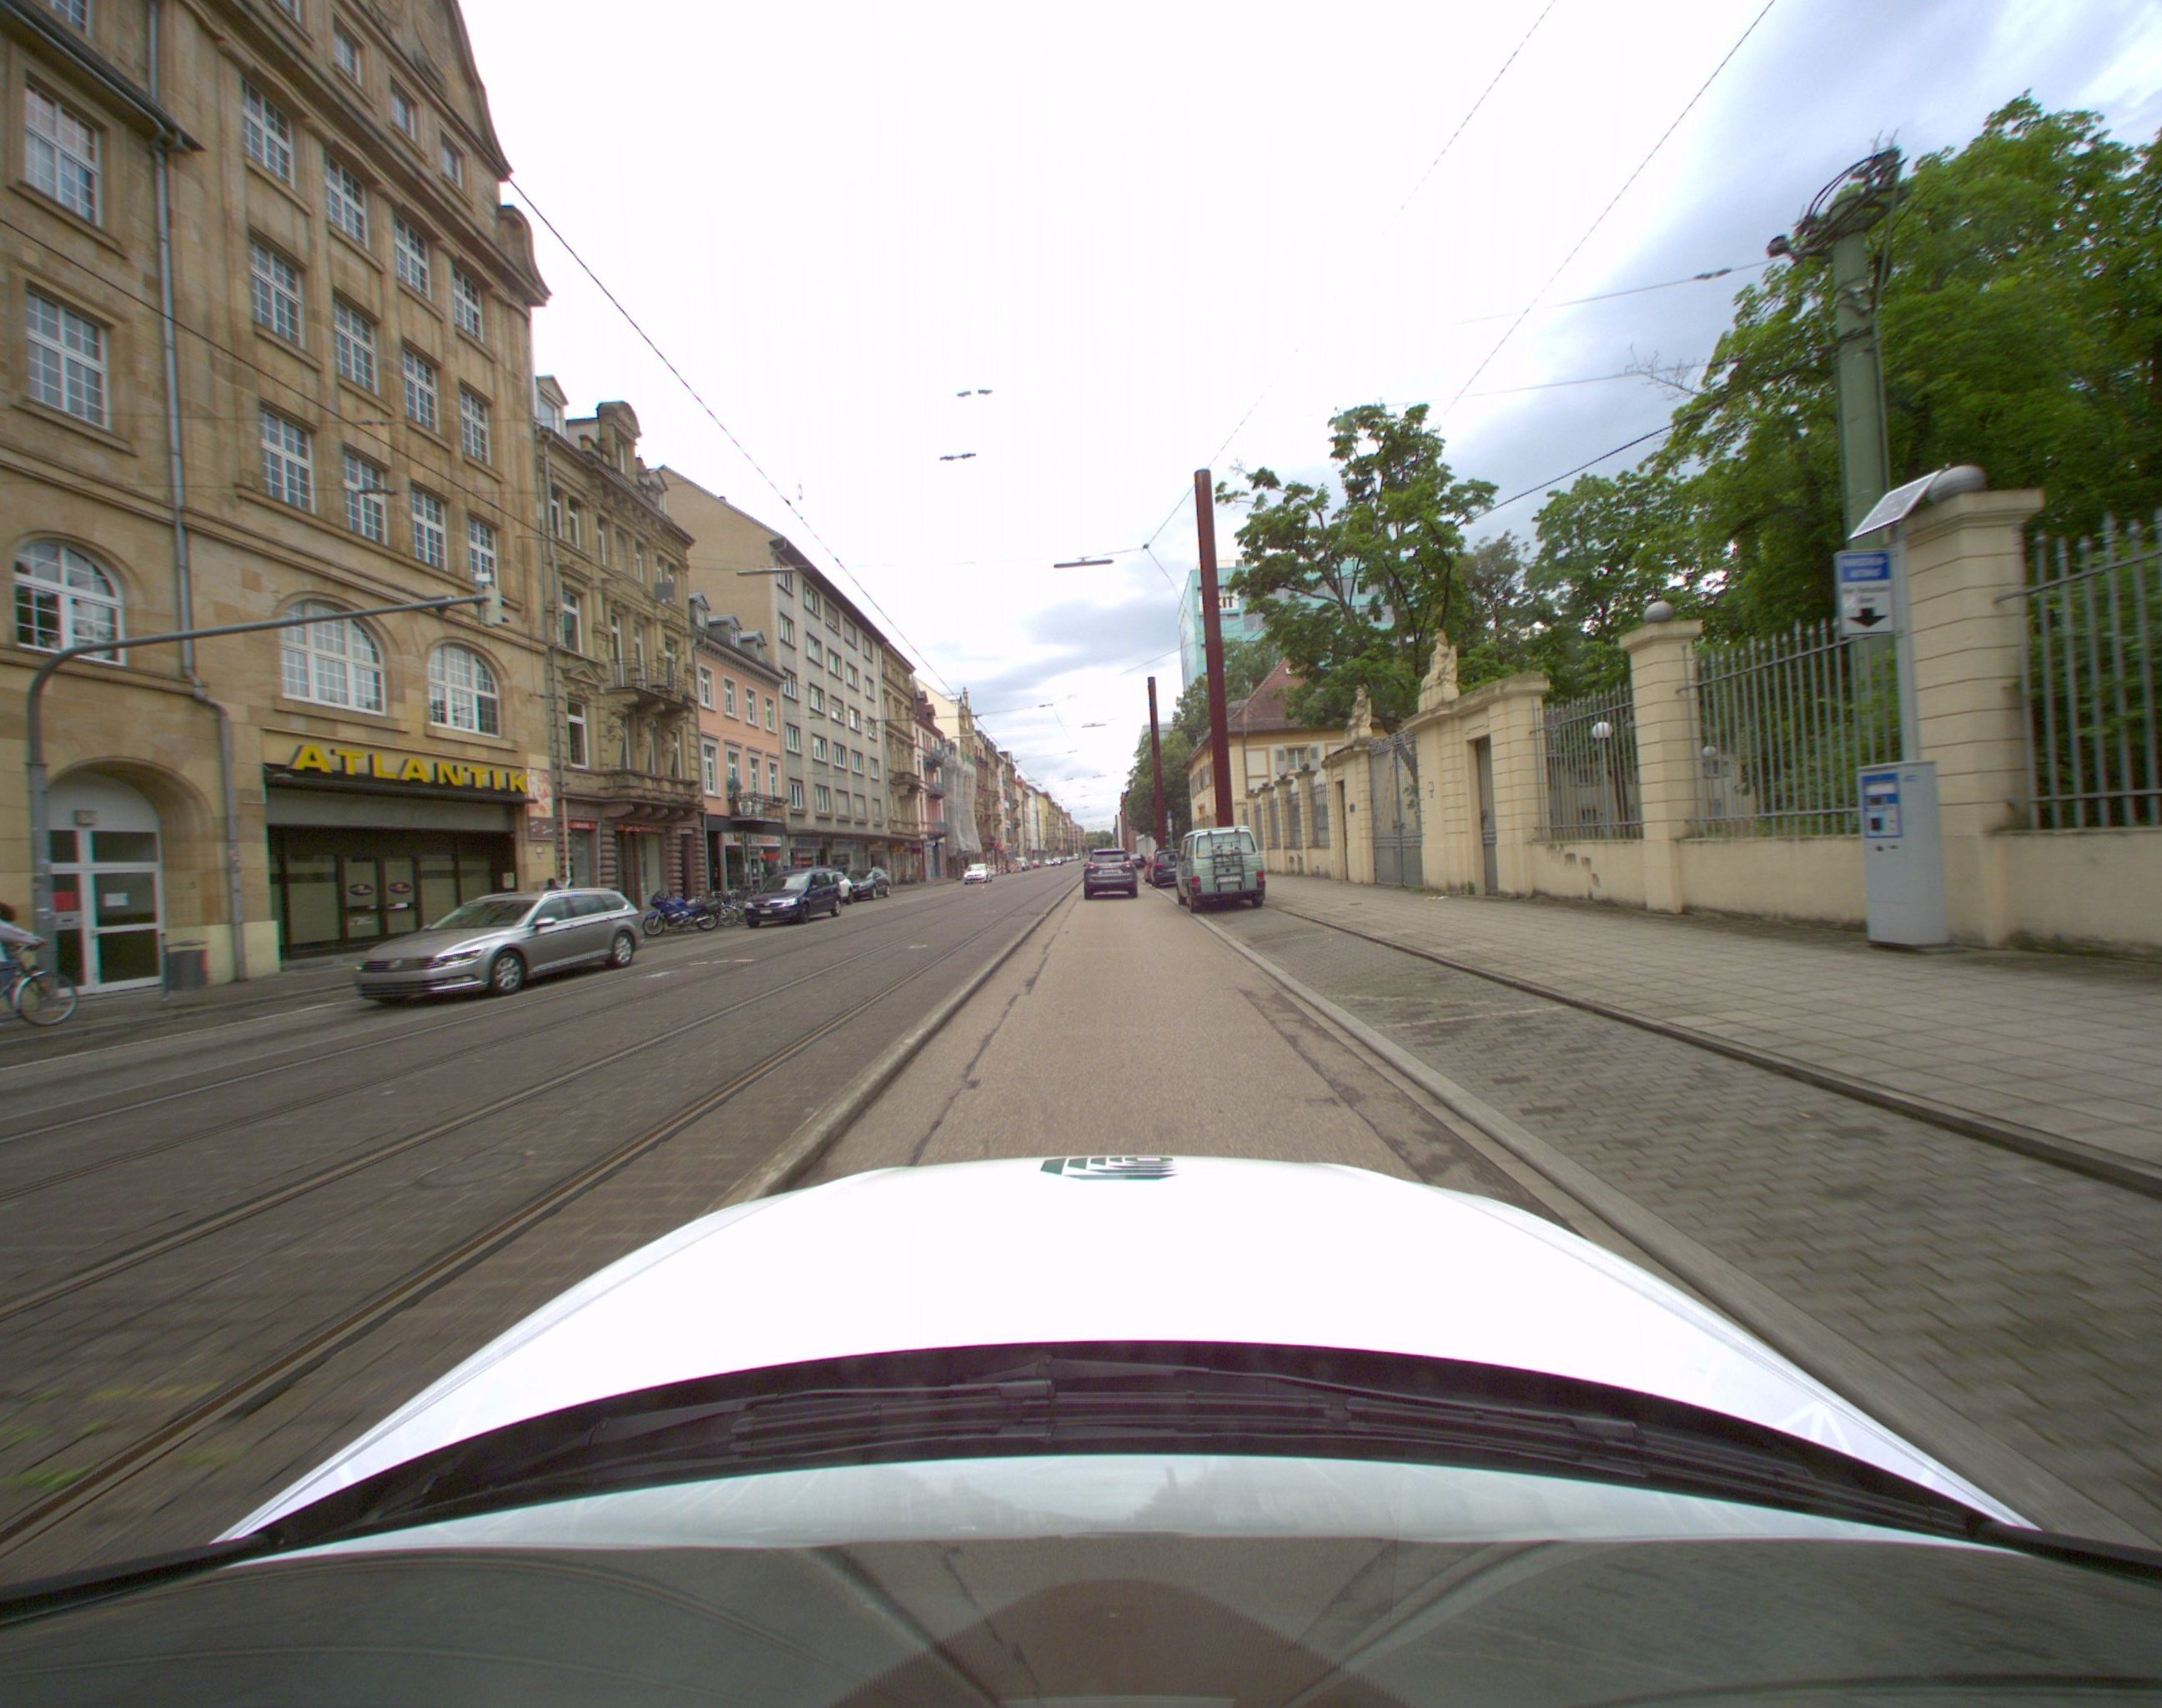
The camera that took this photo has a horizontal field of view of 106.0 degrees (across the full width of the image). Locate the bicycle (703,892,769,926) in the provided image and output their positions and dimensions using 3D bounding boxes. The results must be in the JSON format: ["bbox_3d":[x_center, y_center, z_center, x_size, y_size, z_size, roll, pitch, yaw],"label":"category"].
[{"bbox_3d":[-11.636,1.851,27.510,1.964,1.001,0.462,-4,-1,-7],"label":"bicycle"}]

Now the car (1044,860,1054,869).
[{"bbox_3d":[-6.671,2.188,171.893,1.988,1.635,3.997,-3,-1,-2],"label":"car"}]

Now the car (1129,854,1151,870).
[{"bbox_3d":[5.545,0.733,77.141,1.769,1.420,4.136,-4,0,1],"label":"car"}]

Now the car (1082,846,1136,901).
[{"bbox_3d":[0.974,0.654,28.695,1.743,1.756,3.925,-2,0,1],"label":"car"}]

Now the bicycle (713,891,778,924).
[{"bbox_3d":[-11.652,1.845,28.324,1.964,1.001,0.462,-4,-1,-7],"label":"bicycle"}]

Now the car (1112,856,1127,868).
[{"bbox_3d":[4.839,1.011,102.980,1.769,1.420,4.136,-4,0,1],"label":"car"}]

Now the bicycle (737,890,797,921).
[{"bbox_3d":[-11.490,1.877,29.822,1.964,1.001,0.462,-4,-1,-7],"label":"bicycle"}]

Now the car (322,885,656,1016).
[{"bbox_3d":[-8.964,1.350,12.970,1.752,1.449,4.616,-4,0,2],"label":"car"}]

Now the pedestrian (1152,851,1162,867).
[{"bbox_3d":[8.796,0.584,94.274,0.907,1.886,0.846,-3,-1,1],"label":"pedestrian"}]

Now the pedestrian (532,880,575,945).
[{"bbox_3d":[-13.774,1.515,21.287,0.566,1.598,0.718,-3,-1,1],"label":"pedestrian"}]

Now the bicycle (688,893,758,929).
[{"bbox_3d":[-11.546,1.830,26.302,1.964,1.001,0.462,-4,-1,-7],"label":"bicycle"}]

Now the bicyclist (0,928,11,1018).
[{"bbox_3d":[-13.889,1.516,9.988,0.609,1.117,0.660,-3,0,1],"label":"bicyclist"}]

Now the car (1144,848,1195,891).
[{"bbox_3d":[3.828,0.647,35.775,1.743,1.596,3.925,-6,0,1],"label":"car"}]

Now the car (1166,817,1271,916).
[{"bbox_3d":[3.455,0.296,21.398,1.845,2.115,4.986,-6,0,1],"label":"car"}]

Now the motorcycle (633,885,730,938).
[{"bbox_3d":[-11.534,1.637,23.553,2.354,1.302,0.874,-3,-1,-35],"label":"motorcycle"}]

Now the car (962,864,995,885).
[{"bbox_3d":[-7.575,1.489,60.531,1.681,1.420,4.136,-4,0,1],"label":"car"}]

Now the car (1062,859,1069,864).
[{"bbox_3d":[-4.540,2.209,244.638,1.988,1.266,3.997,-3,-1,-2],"label":"car"}]

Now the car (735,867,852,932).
[{"bbox_3d":[-8.731,1.311,25.169,1.752,1.671,4.616,-4,0,2],"label":"car"}]

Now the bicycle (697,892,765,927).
[{"bbox_3d":[-11.610,1.827,27.014,1.964,1.001,0.462,-4,-1,-7],"label":"bicycle"}]

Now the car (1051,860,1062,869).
[{"bbox_3d":[-4.650,1.982,153.677,1.988,1.635,3.997,-3,-1,-2],"label":"car"}]

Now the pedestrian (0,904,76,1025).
[{"bbox_3d":[-15.069,1.553,11.530,0.682,1.613,0.742,-3,-1,1],"label":"pedestrian"}]

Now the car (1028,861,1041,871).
[{"bbox_3d":[-7.990,2.069,141.218,1.988,1.464,3.997,-3,-1,-2],"label":"car"}]

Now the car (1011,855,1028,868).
[{"bbox_3d":[-8.690,1.034,115.478,1.988,1.706,3.997,-3,-1,-2],"label":"car"}]

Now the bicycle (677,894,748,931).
[{"bbox_3d":[-11.539,1.836,25.543,1.919,1.001,0.462,-4,-1,-7],"label":"bicycle"}]

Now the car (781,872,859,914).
[{"bbox_3d":[-11.166,1.623,35.207,1.769,1.504,4.403,-4,0,1],"label":"car"}]

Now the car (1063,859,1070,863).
[{"bbox_3d":[-4.412,2.076,239.780,1.988,1.266,3.997,-3,-1,-2],"label":"car"}]

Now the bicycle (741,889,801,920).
[{"bbox_3d":[-11.553,1.871,30.362,1.964,1.001,0.462,-4,-1,-7],"label":"bicycle"}]

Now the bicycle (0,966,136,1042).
[{"bbox_3d":[-13.847,1.996,10.519,0.579,0.745,2.251,-3,0,2],"label":"bicycle"}]

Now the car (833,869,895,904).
[{"bbox_3d":[-10.948,1.608,41.455,1.769,1.504,4.403,-4,0,1],"label":"car"}]

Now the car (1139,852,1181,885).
[{"bbox_3d":[4.043,0.734,42.102,1.743,1.441,3.925,-6,0,1],"label":"car"}]

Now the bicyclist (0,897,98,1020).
[{"bbox_3d":[-13.871,1.355,10.715,0.609,1.487,0.972,-3,0,1],"label":"bicyclist"}]
